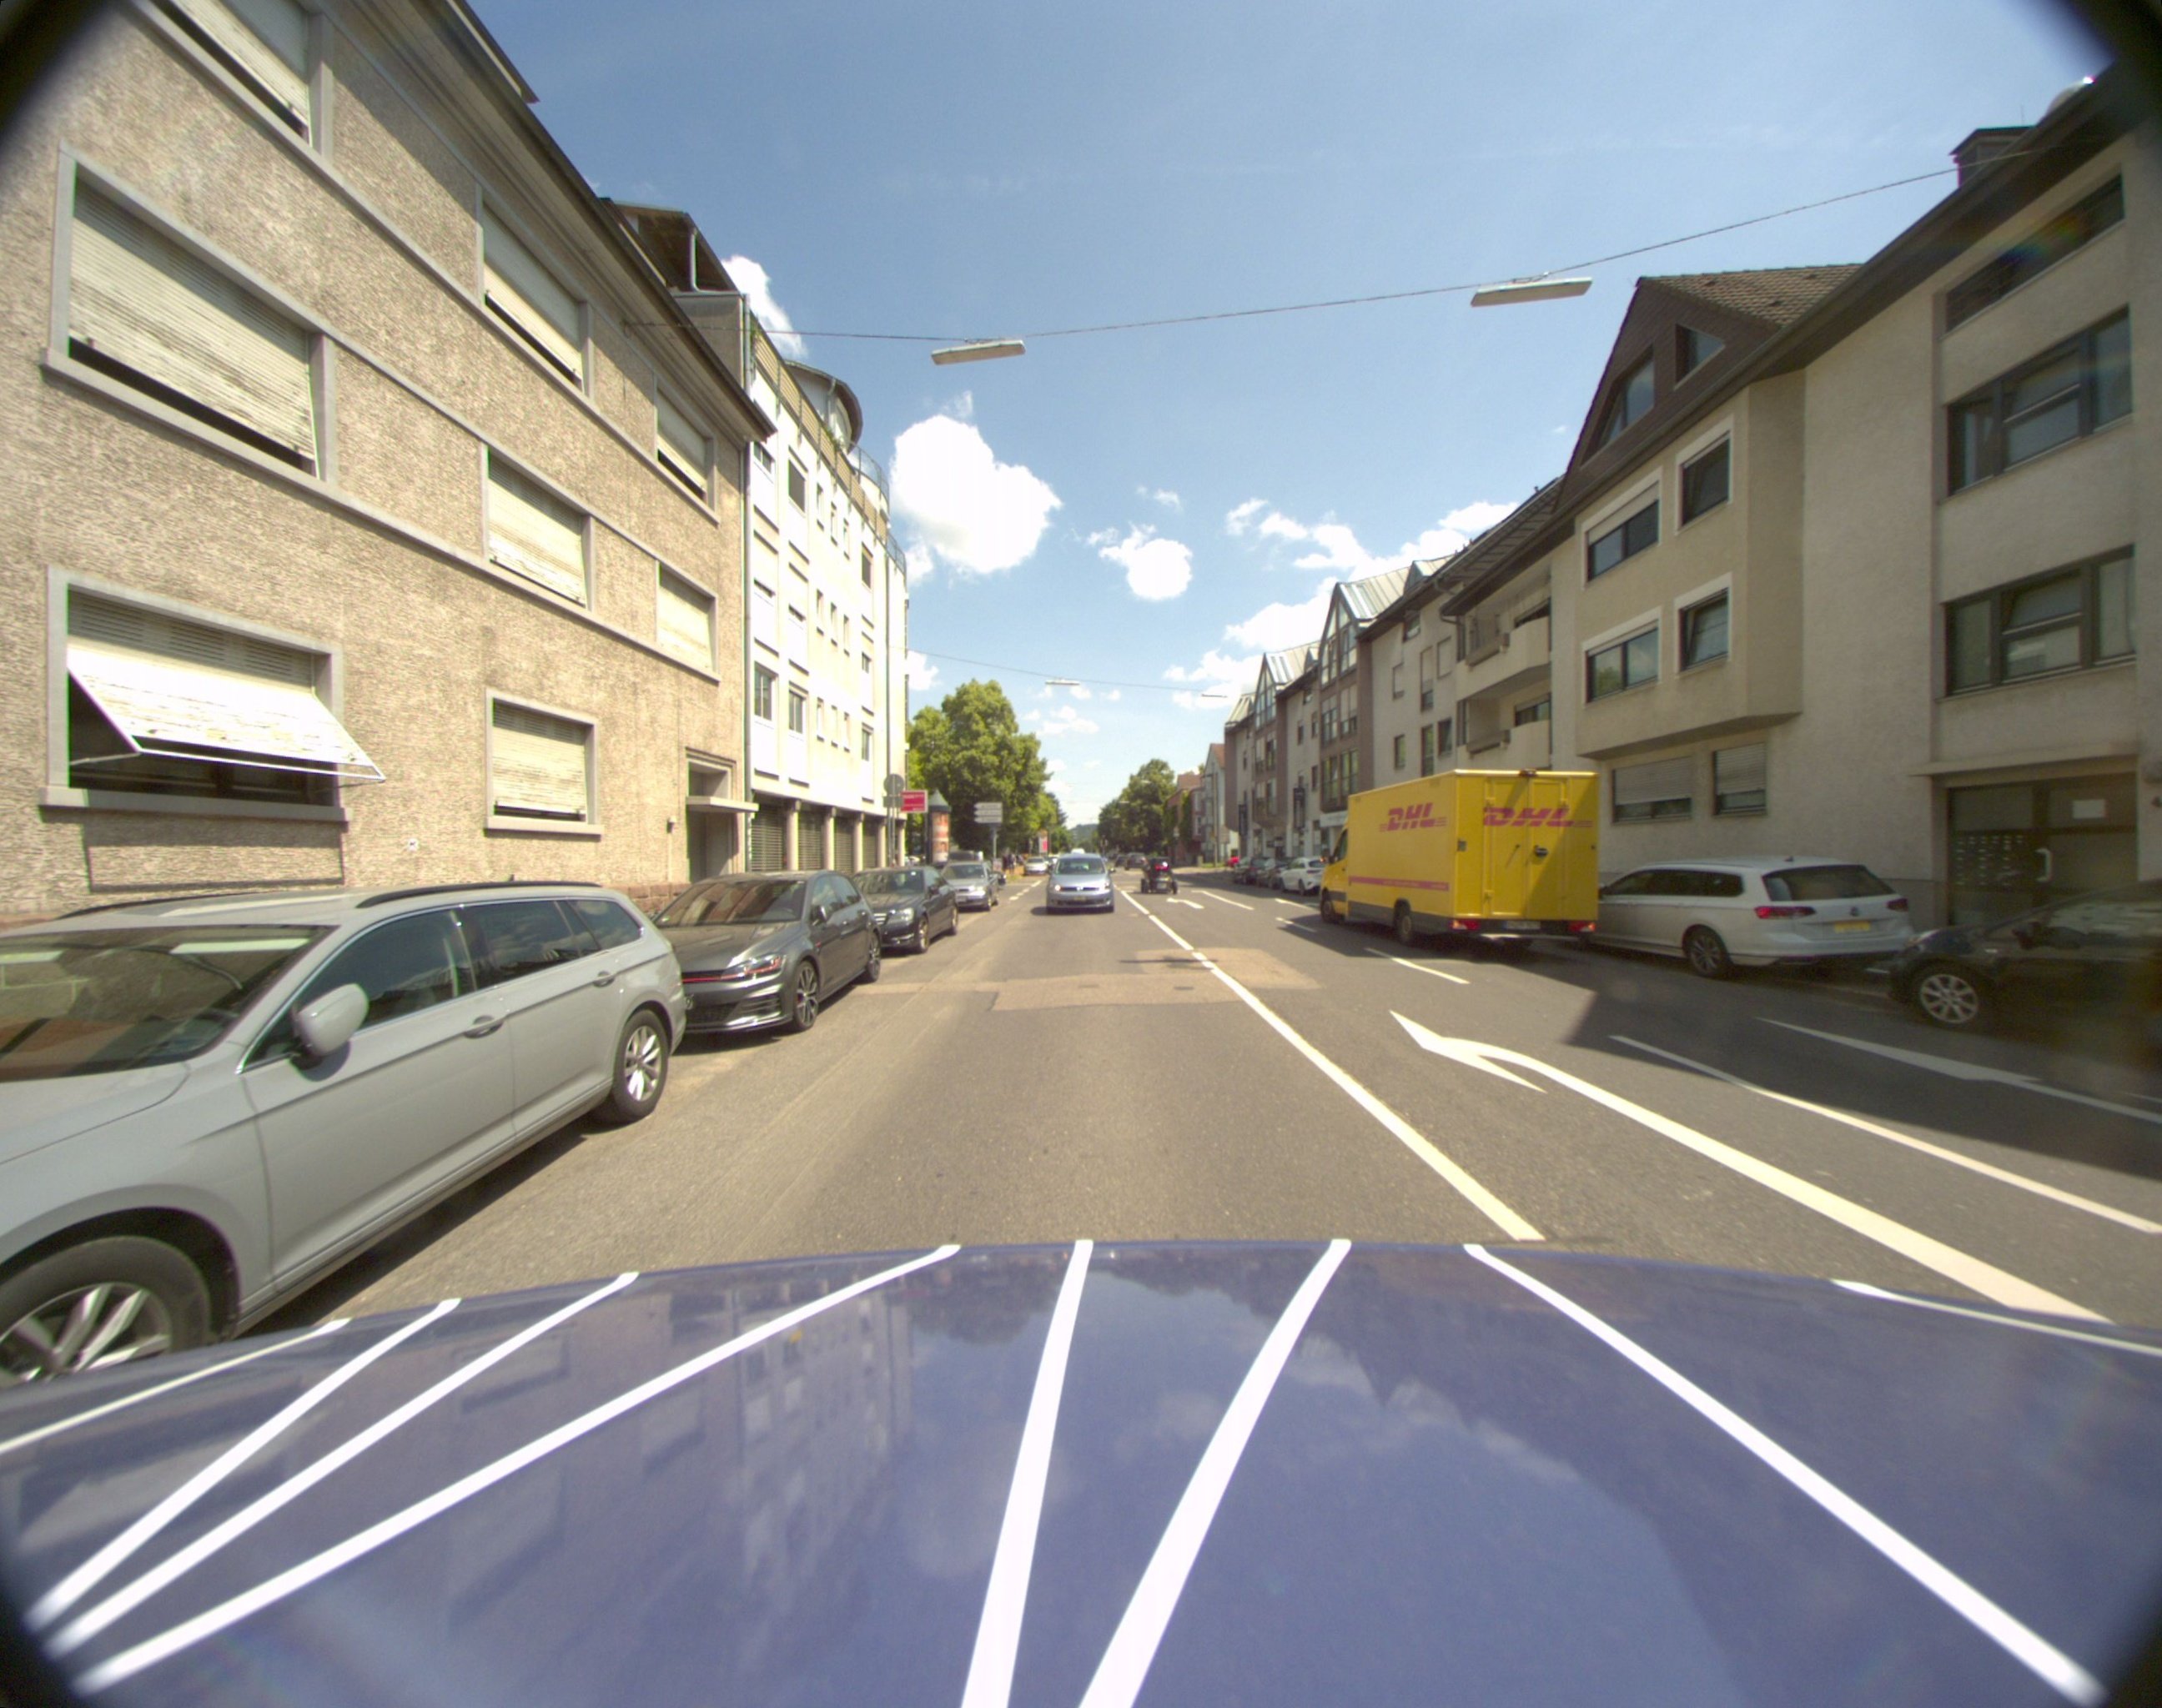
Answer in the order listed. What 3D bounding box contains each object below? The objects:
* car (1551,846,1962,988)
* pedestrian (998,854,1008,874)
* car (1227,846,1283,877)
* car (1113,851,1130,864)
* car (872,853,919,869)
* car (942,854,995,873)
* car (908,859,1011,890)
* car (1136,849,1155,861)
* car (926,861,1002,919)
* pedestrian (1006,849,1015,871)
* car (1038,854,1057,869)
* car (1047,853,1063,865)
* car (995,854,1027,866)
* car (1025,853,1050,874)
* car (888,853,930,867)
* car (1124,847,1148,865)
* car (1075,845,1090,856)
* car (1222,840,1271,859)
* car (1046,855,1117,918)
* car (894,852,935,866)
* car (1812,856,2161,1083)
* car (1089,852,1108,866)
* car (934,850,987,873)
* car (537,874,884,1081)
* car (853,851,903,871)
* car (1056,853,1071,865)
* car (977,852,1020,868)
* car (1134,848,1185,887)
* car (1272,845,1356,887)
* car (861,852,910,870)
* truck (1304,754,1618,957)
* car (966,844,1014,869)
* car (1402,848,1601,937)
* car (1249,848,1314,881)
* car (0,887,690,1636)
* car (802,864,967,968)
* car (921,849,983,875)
[{"bbox_3d":[8.788,0.678,10.548,1.844,1.479,4.386,-3,1,2],"label":"car"},{"bbox_3d":[-6.157,0.791,59.980,0.618,1.584,0.737,-1,1,-1],"label":"pedestrian"},{"bbox_3d":[9.122,0.358,40.221,1.844,1.439,4.968,-3,1,1],"label":"car"},{"bbox_3d":[4.737,0.400,89.521,1.747,1.411,4.223,1,0,1],"label":"car"},{"bbox_3d":[-17.642,0.686,72.352,3.996,1.464,1.804,1,1,1],"label":"car"},{"bbox_3d":[-8.974,0.734,60.795,3.998,1.390,1.807,-1,1,-2],"label":"car"},{"bbox_3d":[-5.737,0.967,36.269,4.593,1.357,1.999,-1,0,-2],"label":"car"},{"bbox_3d":[8.367,0.058,98.875,1.891,1.531,4.567,0,0,-2],"label":"car"},{"bbox_3d":[-3.390,1.005,22.711,1.682,1.446,4.142,-2,0,-2],"label":"car"},{"bbox_3d":[-5.564,0.485,59.988,0.618,1.754,0.737,-1,1,-1],"label":"pedestrian"},{"bbox_3d":[-3.241,0.713,73.882,1.667,1.420,4.000,-1,0,0],"label":"car"},{"bbox_3d":[-3.277,0.580,95.169,1.721,1.434,4.111,-2,0,1],"label":"car"},{"bbox_3d":[-8.806,0.716,95.112,3.849,1.350,1.628,-1,1,-9],"label":"car"},{"bbox_3d":[-3.354,0.684,58.642,1.771,1.476,3.890,-1,1,-1],"label":"car"},{"bbox_3d":[-18.071,0.603,80.011,3.996,1.464,1.804,1,1,1],"label":"car"},{"bbox_3d":[5.088,0.235,71.225,1.817,1.611,4.441,1,0,-1],"label":"car"},{"bbox_3d":[0.247,-0.483,96.829,1.720,1.406,4.590,0,0,3],"label":"car"},{"bbox_3d":[15.351,-0.438,70.540,3.997,1.443,1.733,-4,-1,-2],"label":"car"},{"bbox_3d":[0.021,0.805,20.960,1.747,1.513,4.222,0,1,0],"label":"car"},{"bbox_3d":[-18.181,0.559,82.959,3.996,1.464,1.804,1,1,1],"label":"car"},{"bbox_3d":[8.469,0.820,5.582,1.844,1.479,4.501,-3,1,0],"label":"car"},{"bbox_3d":[1.937,0.526,85.741,1.868,1.516,4.291,-1,0,-2],"label":"car"},{"bbox_3d":[-8.840,0.547,55.955,3.774,1.657,1.663,0,1,-5],"label":"car"},{"bbox_3d":[-3.305,0.985,7.749,1.656,1.412,4.047,0,0,-2],"label":"car"},{"bbox_3d":[-17.949,0.626,67.280,3.996,1.652,1.804,1,1,1],"label":"car"},{"bbox_3d":[-2.367,0.697,102.585,1.867,1.516,4.208,-1,0,0],"label":"car"},{"bbox_3d":[-8.795,0.603,81.333,4.336,1.485,1.808,-2,1,-2],"label":"car"},{"bbox_3d":[3.013,0.496,29.646,1.501,1.450,2.721,0,0,-5],"label":"car"},{"bbox_3d":[9.065,0.414,29.978,1.844,1.480,4.385,-3,1,-1],"label":"car"},{"bbox_3d":[-17.967,0.654,70.035,3.996,1.577,1.804,1,1,1],"label":"car"},{"bbox_3d":[6.338,-0.004,14.256,2.231,2.755,7.564,1,0,2],"label":"truck"},{"bbox_3d":[-9.246,0.249,77.610,4.614,2.263,2.106,-2,1,0],"label":"car"},{"bbox_3d":[8.894,0.715,16.579,1.844,1.586,4.386,-3,1,0],"label":"car"},{"bbox_3d":[9.214,0.442,35.204,1.844,1.376,4.326,-3,1,0],"label":"car"},{"bbox_3d":[-3.423,0.992,2.862,1.859,1.455,4.548,-1,1,-5],"label":"car"},{"bbox_3d":[-3.285,0.960,13.609,1.716,1.464,4.438,0,0,1],"label":"car"},{"bbox_3d":[-8.995,0.546,53.306,3.997,1.741,2.016,-1,1,-1],"label":"car"}]
